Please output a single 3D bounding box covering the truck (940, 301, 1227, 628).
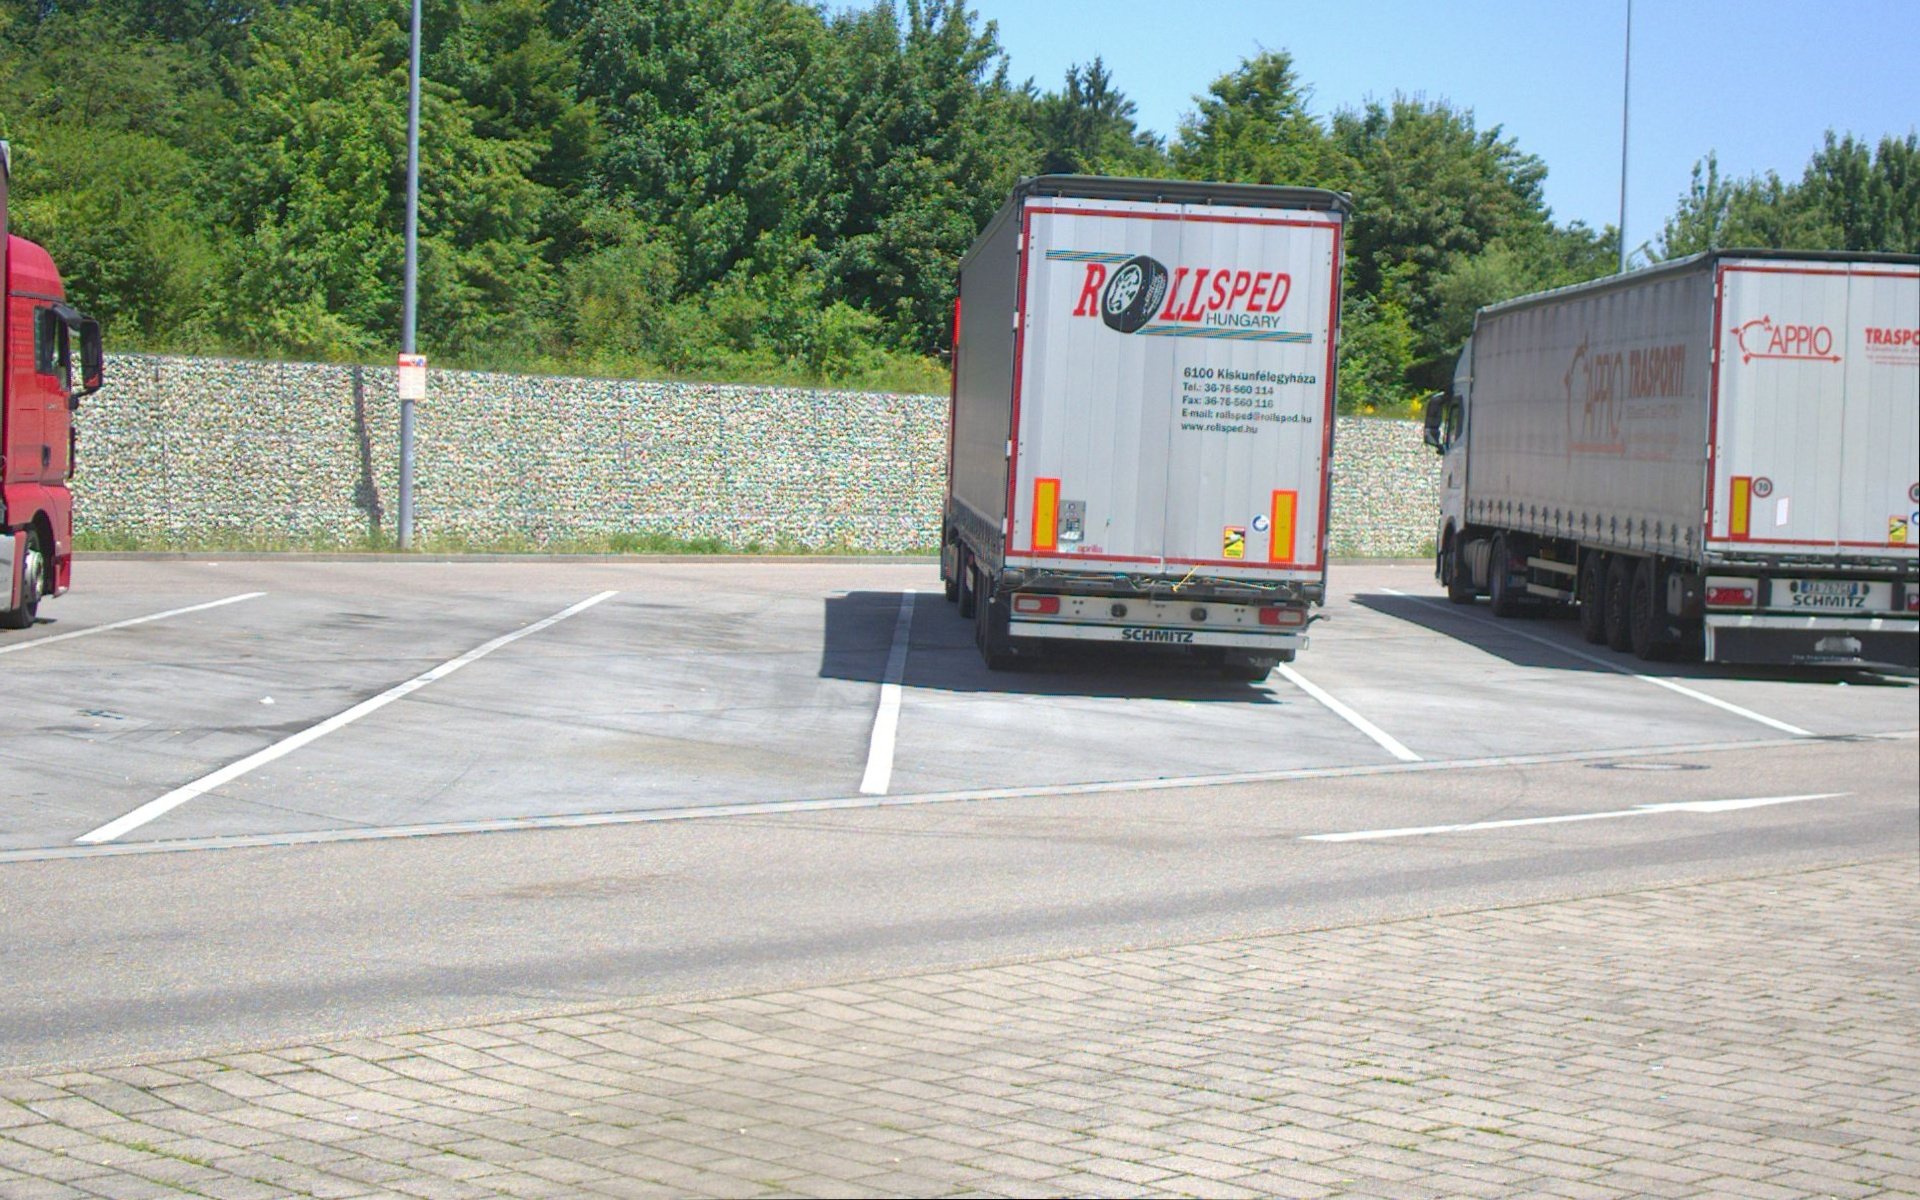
[{"bbox_3d":[1.284,-1.577,39.327,2.865,3.351,5.975,2,3,-1],"label":"truck"}]

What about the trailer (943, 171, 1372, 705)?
[{"bbox_3d":[1.468,-1.571,33.126,2.858,3.958,13.765,2,3,-1],"label":"trailer"}]

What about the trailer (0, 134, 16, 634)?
[{"bbox_3d":[-9.155,-1.467,21.384,2.821,4.057,13.765,2,3,-1],"label":"trailer"}]

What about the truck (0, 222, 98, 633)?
[{"bbox_3d":[-9.243,-1.458,28.204,2.812,3.351,5.975,2,3,-1],"label":"truck"}]

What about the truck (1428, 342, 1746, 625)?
[{"bbox_3d":[8.095,-1.574,45.146,2.865,3.351,5.975,2,3,-1],"label":"truck"}]

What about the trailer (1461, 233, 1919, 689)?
[{"bbox_3d":[8.197,-1.593,38.380,2.858,4.095,13.765,2,3,-1],"label":"trailer"}]

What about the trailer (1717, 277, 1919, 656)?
[{"bbox_3d":[11.794,-1.509,39.392,2.858,4.095,13.765,2,3,-1],"label":"trailer"}]
